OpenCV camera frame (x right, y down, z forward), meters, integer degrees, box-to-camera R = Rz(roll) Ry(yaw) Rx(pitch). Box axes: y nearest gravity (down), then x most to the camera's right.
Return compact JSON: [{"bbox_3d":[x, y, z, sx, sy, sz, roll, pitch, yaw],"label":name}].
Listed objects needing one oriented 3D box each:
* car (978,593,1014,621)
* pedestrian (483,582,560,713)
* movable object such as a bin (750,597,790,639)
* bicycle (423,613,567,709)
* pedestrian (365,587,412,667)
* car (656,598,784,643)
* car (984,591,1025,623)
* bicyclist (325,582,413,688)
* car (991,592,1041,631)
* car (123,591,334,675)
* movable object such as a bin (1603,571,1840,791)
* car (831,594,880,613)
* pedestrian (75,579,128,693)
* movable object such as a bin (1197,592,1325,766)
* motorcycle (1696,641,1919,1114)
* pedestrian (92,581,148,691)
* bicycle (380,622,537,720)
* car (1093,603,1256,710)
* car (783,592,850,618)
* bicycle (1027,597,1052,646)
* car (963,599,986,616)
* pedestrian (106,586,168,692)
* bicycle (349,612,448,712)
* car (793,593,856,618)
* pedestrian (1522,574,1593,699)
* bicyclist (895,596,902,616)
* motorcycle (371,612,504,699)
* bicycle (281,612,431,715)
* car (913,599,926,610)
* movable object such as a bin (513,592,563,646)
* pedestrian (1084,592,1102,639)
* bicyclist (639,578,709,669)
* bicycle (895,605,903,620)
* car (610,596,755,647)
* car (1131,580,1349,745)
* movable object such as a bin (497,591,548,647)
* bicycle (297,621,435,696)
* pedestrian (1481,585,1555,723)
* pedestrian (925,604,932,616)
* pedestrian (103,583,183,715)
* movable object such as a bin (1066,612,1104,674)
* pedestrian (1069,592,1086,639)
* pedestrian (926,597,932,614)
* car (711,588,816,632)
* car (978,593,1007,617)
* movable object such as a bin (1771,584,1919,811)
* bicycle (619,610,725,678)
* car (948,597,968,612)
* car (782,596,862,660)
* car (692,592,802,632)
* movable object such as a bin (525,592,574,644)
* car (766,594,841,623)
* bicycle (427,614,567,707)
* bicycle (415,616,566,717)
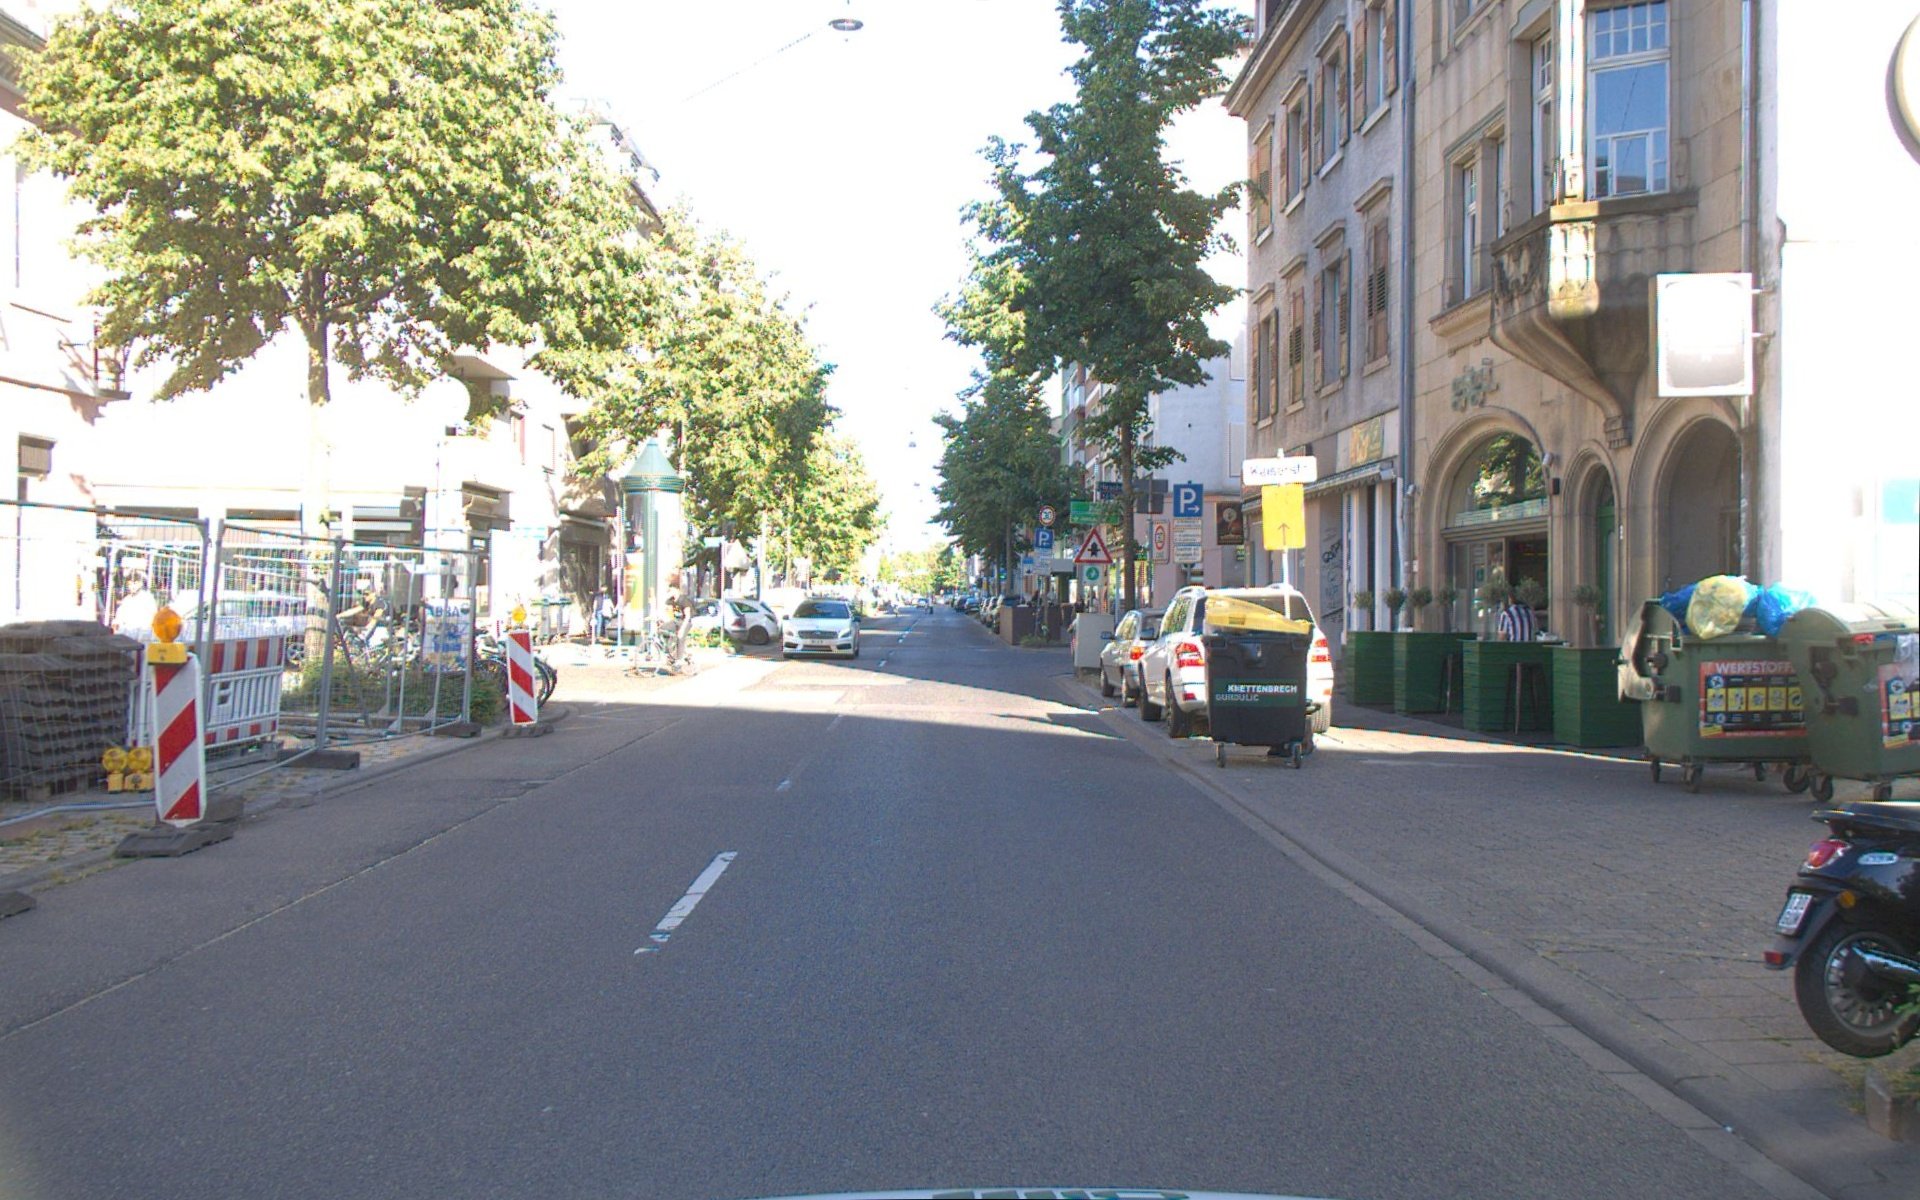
[{"bbox_3d":[2.116,0.388,97.682,1.953,1.637,3.999,0,0,-1],"label":"car"},{"bbox_3d":[-5.961,0.628,22.466,0.785,1.737,0.758,1,0,-34],"label":"pedestrian"},{"bbox_3d":[-6.925,0.641,60.388,1.307,1.504,1.480,0,0,-1],"label":"movable object such as a bin"},{"bbox_3d":[-6.386,0.841,22.796,1.820,1.274,0.599,1,0,-9],"label":"bicycle"},{"bbox_3d":[-12.146,0.569,35.176,0.755,1.671,0.690,0,0,1],"label":"pedestrian"},{"bbox_3d":[-7.745,0.637,53.697,3.906,1.414,1.999,0,0,-2],"label":"car"},{"bbox_3d":[2.268,0.336,85.047,1.953,1.637,3.999,0,0,-1],"label":"car"},{"bbox_3d":[-9.098,0.528,25.470,0.753,1.587,1.037,0,0,34],"label":"bicyclist"},{"bbox_3d":[2.385,0.471,71.627,1.953,1.637,3.999,0,0,-1],"label":"car"},{"bbox_3d":[-15.273,0.653,34.732,3.932,1.639,1.987,-1,0,-22],"label":"car"},{"bbox_3d":[6.092,0.614,13.342,1.181,1.656,1.497,-1,0,-3],"label":"movable object such as a bin"},{"bbox_3d":[-8.457,0.260,134.343,3.906,1.526,1.999,0,0,-2],"label":"car"},{"bbox_3d":[-13.679,0.561,26.359,0.644,1.791,0.653,0,0,-19],"label":"pedestrian"},{"bbox_3d":[2.859,0.722,15.895,1.118,1.589,1.460,-1,0,7],"label":"movable object such as a bin"},{"bbox_3d":[3.600,0.826,5.529,1.943,1.353,0.909,0,0,-13],"label":"motorcycle"},{"bbox_3d":[-13.862,0.590,27.319,0.642,1.791,0.656,0,0,-9],"label":"pedestrian"},{"bbox_3d":[-6.382,0.901,21.109,1.820,1.191,0.599,1,0,-9],"label":"bicycle"},{"bbox_3d":[3.204,0.801,25.495,1.785,1.415,4.299,-2,0,-2],"label":"car"},{"bbox_3d":[-8.667,0.277,100.132,3.906,1.526,1.999,0,0,-2],"label":"car"},{"bbox_3d":[2.505,0.667,52.010,0.549,1.466,1.628,-6,0,-1],"label":"bicycle"},{"bbox_3d":[1.339,0.718,153.029,1.953,1.534,3.999,1,-1,-1],"label":"car"},{"bbox_3d":[-13.338,0.618,26.813,0.641,1.697,0.656,0,0,10],"label":"pedestrian"},{"bbox_3d":[-7.712,0.824,22.682,0.595,1.274,1.765,1,0,-43],"label":"bicycle"},{"bbox_3d":[-8.688,0.341,106.377,3.906,1.526,1.999,0,0,-2],"label":"car"},{"bbox_3d":[7.790,0.468,21.591,0.683,1.593,0.612,-1,0,-2],"label":"pedestrian"},{"bbox_3d":[-4.867,0.515,131.622,0.549,1.575,0.728,1,-1,-1],"label":"bicyclist"},{"bbox_3d":[-7.815,0.829,24.807,1.820,1.251,0.755,1,0,-13],"label":"motorcycle"},{"bbox_3d":[-7.871,0.812,21.579,1.749,1.274,0.601,1,0,10],"label":"bicycle"},{"bbox_3d":[-5.515,0.652,225.135,1.756,1.436,3.999,0,0,-1],"label":"car"},{"bbox_3d":[-11.944,0.525,46.861,1.148,1.511,1.314,0,0,-3],"label":"movable object such as a bin"},{"bbox_3d":[4.846,0.567,60.233,0.536,1.678,0.664,0,0,-5],"label":"pedestrian"},{"bbox_3d":[-5.520,0.439,31.964,0.708,1.722,1.150,0,0,41],"label":"bicyclist"},{"bbox_3d":[-4.863,0.996,131.602,0.549,1.200,1.628,1,-1,-1],"label":"bicycle"},{"bbox_3d":[-7.989,0.610,47.905,3.906,1.414,1.999,0,0,-2],"label":"car"},{"bbox_3d":[3.264,0.669,20.176,1.785,1.708,4.600,-2,0,0],"label":"car"},{"bbox_3d":[-11.994,0.506,45.404,1.117,1.511,1.235,0,0,-3],"label":"movable object such as a bin"},{"bbox_3d":[-9.117,0.883,25.471,0.753,1.077,1.950,0,0,34],"label":"bicycle"},{"bbox_3d":[6.467,0.616,19.190,0.598,1.567,0.699,-1,0,-1],"label":"pedestrian"},{"bbox_3d":[-2.806,0.897,147.702,0.534,1.044,0.546,-1,0,-3],"label":"pedestrian"},{"bbox_3d":[-10.596,0.627,21.471,0.598,1.682,0.813,0,0,2],"label":"pedestrian"},{"bbox_3d":[2.560,0.868,33.801,0.691,1.244,0.680,0,0,-3],"label":"movable object such as a bin"},{"bbox_3d":[4.233,0.564,59.597,0.536,1.678,0.664,0,0,-6],"label":"pedestrian"},{"bbox_3d":[-2.770,0.527,148.200,0.534,1.498,0.546,-1,0,-3],"label":"pedestrian"},{"bbox_3d":[-7.884,0.393,66.608,3.903,1.724,2.001,0,0,4],"label":"car"},{"bbox_3d":[2.320,0.359,118.028,1.953,1.637,3.999,0,0,-1],"label":"car"},{"bbox_3d":[6.803,0.665,11.986,1.245,1.557,1.176,-1,0,-3],"label":"movable object such as a bin"},{"bbox_3d":[-5.543,0.834,31.939,0.708,1.241,2.024,0,0,41],"label":"bicycle"},{"bbox_3d":[-0.203,0.490,172.439,1.953,1.534,3.999,1,-1,-1],"label":"car"},{"bbox_3d":[-3.437,0.669,41.853,1.766,1.460,4.408,-2,0,-2],"label":"car"},{"bbox_3d":[-8.193,0.458,63.802,3.903,1.482,1.869,0,0,4],"label":"car"},{"bbox_3d":[-12.030,0.517,48.490,1.148,1.511,1.314,0,0,-3],"label":"movable object such as a bin"},{"bbox_3d":[-8.421,0.432,89.366,3.906,1.526,1.999,0,0,-2],"label":"car"},{"bbox_3d":[-6.544,0.850,23.434,1.820,1.274,0.599,1,0,-9],"label":"bicycle"},{"bbox_3d":[-6.165,0.869,21.786,1.820,1.274,0.599,1,0,-9],"label":"bicycle"}]
